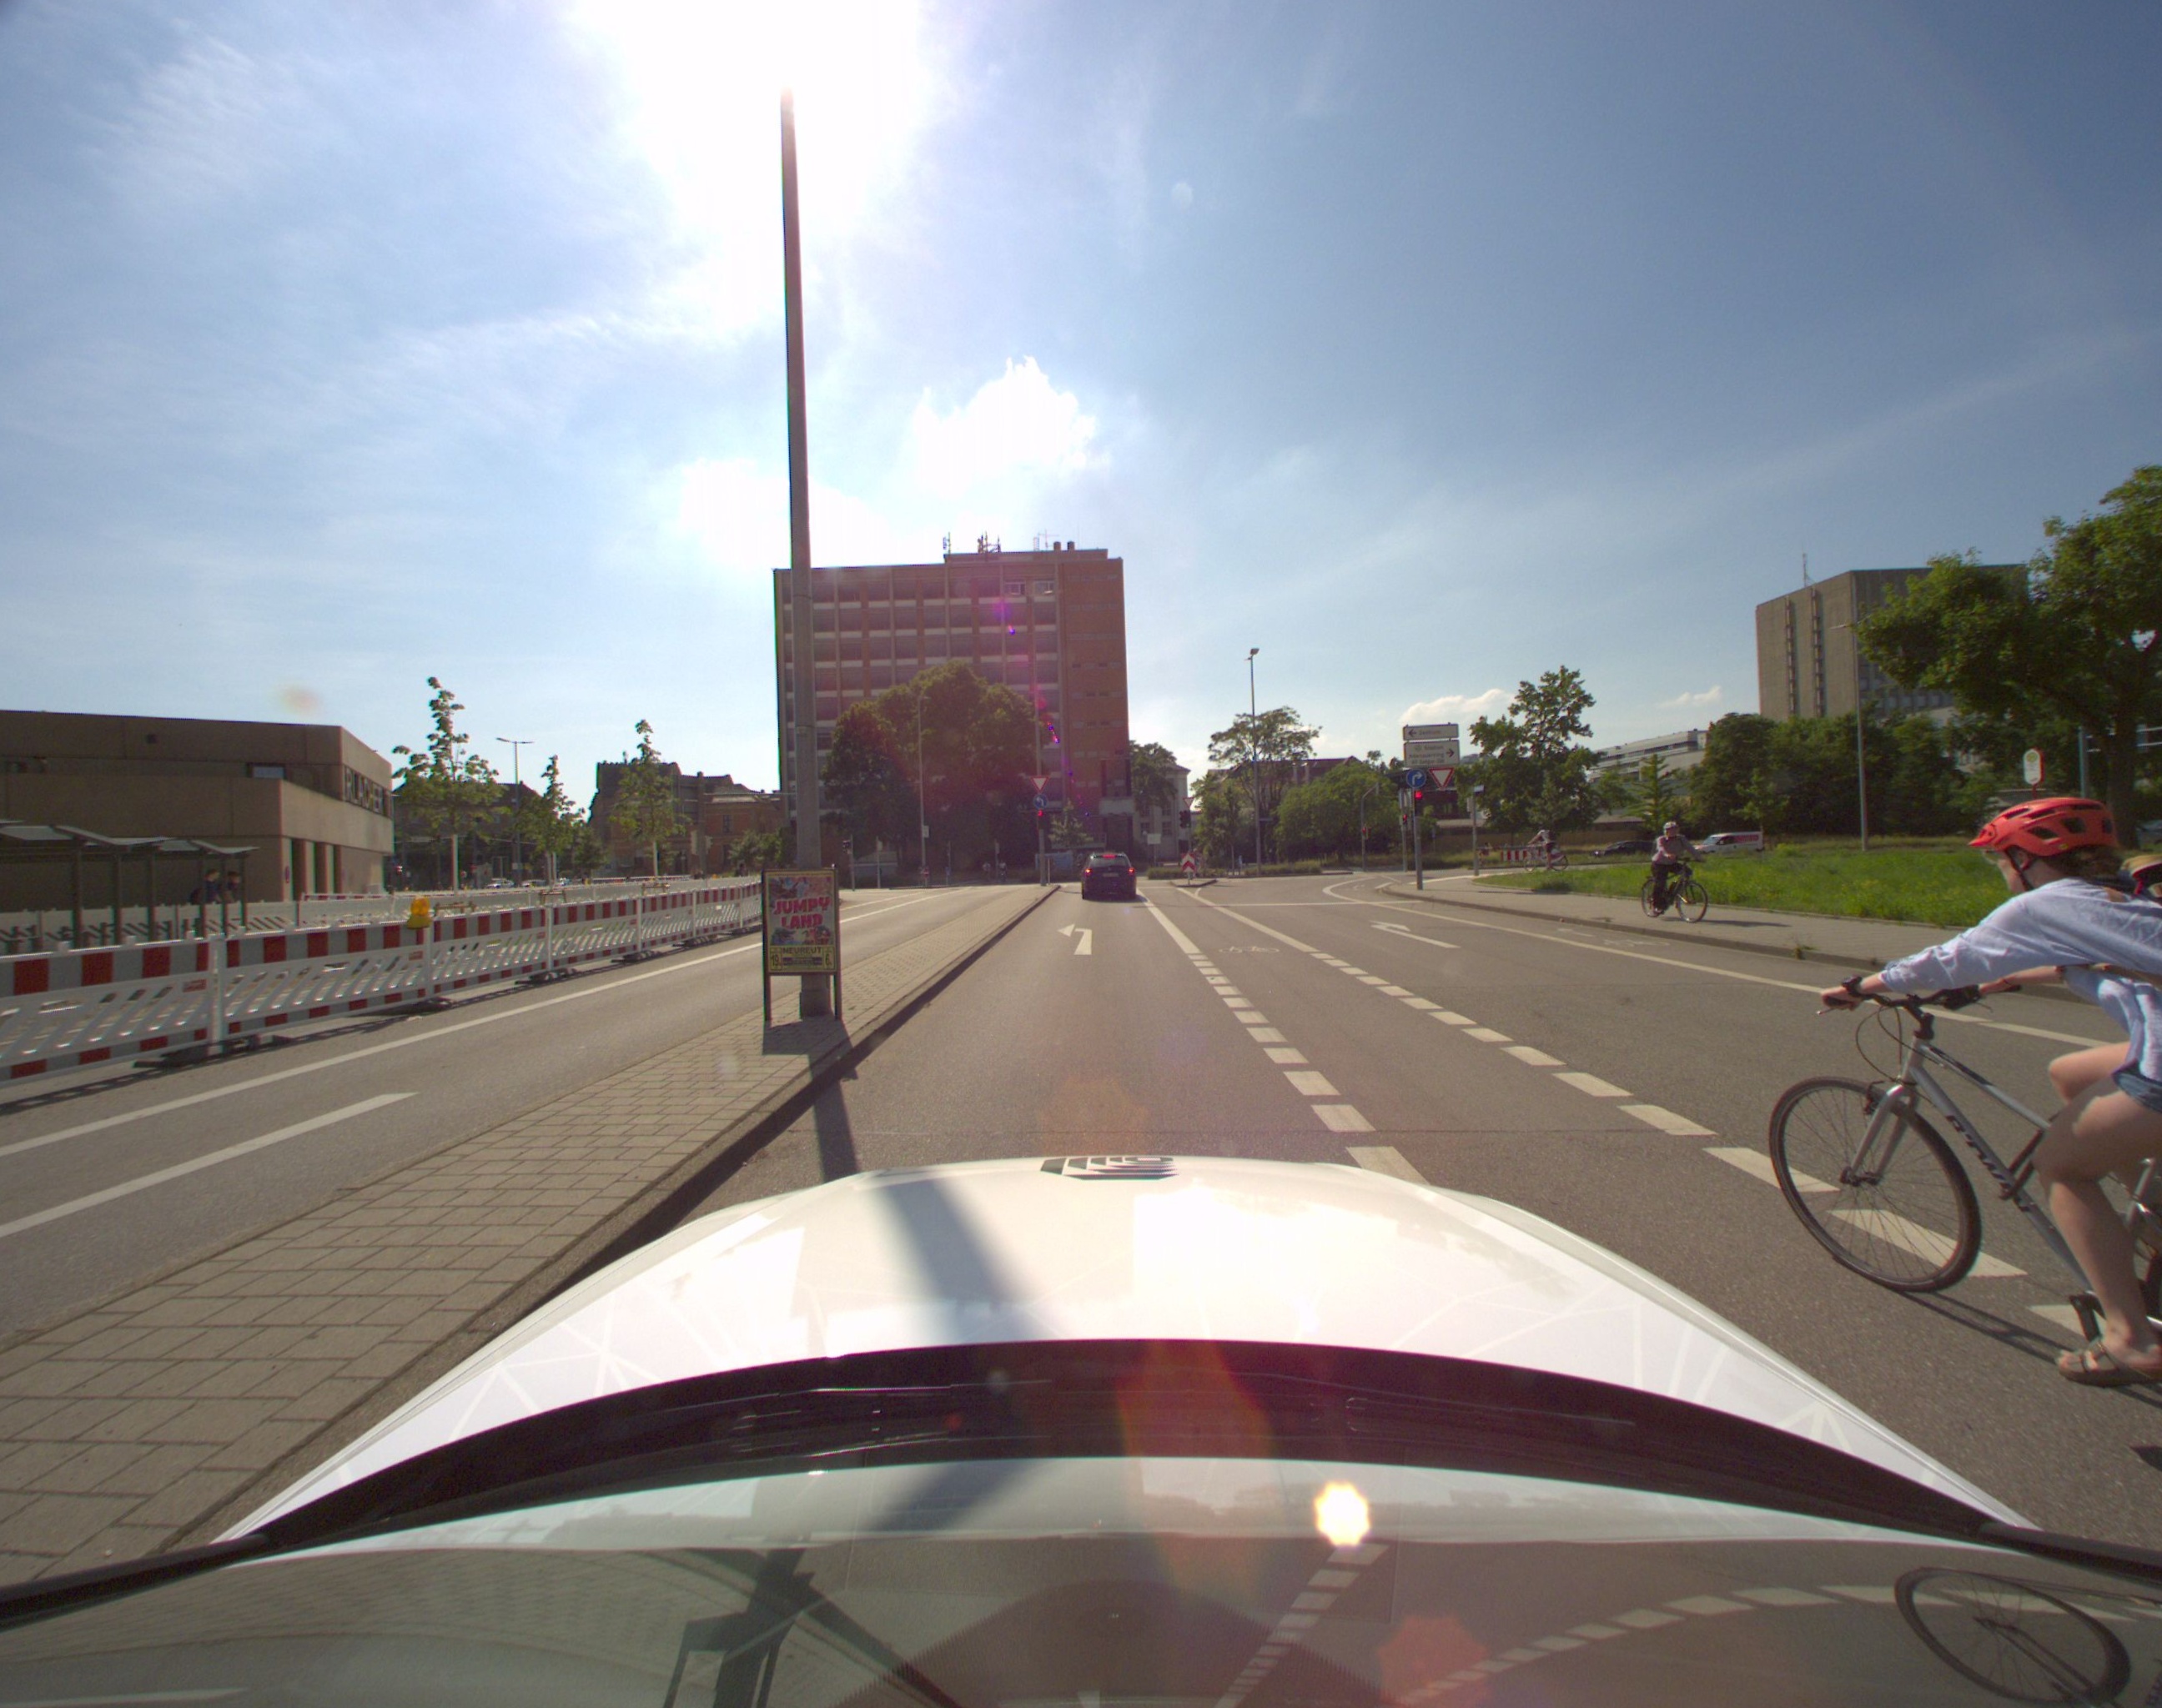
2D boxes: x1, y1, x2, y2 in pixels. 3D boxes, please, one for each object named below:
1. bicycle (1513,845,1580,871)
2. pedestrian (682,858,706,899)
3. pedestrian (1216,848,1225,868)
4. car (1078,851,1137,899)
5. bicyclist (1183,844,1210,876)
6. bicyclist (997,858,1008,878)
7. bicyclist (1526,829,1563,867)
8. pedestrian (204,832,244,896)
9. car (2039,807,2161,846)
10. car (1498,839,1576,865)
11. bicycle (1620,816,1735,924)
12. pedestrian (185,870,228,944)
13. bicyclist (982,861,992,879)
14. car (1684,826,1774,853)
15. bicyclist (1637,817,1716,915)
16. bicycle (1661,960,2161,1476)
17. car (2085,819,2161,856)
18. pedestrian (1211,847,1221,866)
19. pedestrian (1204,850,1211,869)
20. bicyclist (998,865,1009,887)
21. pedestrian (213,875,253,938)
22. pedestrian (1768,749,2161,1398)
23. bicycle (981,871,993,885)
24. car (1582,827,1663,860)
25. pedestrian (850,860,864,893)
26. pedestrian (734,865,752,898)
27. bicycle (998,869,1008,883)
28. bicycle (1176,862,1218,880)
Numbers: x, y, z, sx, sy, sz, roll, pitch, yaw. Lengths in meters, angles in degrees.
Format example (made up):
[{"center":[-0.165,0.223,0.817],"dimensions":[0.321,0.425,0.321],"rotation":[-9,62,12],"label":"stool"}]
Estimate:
[{"center":[18.080,0.161,31.656],"dimensions":[0.678,0.916,2.143],"rotation":[-2,0,-41],"label":"bicycle"},{"center":[-17.224,1.096,36.275],"dimensions":[0.737,1.752,1.105],"rotation":[-2,-2,-15],"label":"pedestrian"},{"center":[13.685,0.376,79.760],"dimensions":[0.634,1.874,0.796],"rotation":[-4,0,1],"label":"pedestrian"},{"center":[0.872,0.641,26.709],"dimensions":[1.773,1.443,3.819],"rotation":[0,0,2],"label":"car"},{"center":[5.486,0.269,38.532],"dimensions":[1.157,1.474,0.566],"rotation":[-2,0,13],"label":"bicyclist"},{"center":[-5.714,1.023,59.309],"dimensions":[0.617,1.443,0.919],"rotation":[-5,0,-4],"label":"bicyclist"},{"center":[18.014,-0.221,31.644],"dimensions":[0.499,1.470,1.129],"rotation":[1,-2,-41],"label":"bicyclist"},{"center":[-24.232,0.280,23.024],"dimensions":[0.538,1.778,0.572],"rotation":[-3,-1,22],"label":"pedestrian"},{"center":[45.748,-1.222,36.278],"dimensions":[3.972,1.508,1.753],"rotation":[-3,0,1],"label":"car"},{"center":[30.157,-0.112,53.933],"dimensions":[3.973,1.464,2.000],"rotation":[-2,-1,1],"label":"car"},{"center":[10.530,0.263,14.471],"dimensions":[0.675,1.765,1.811],"rotation":[-3,0,1],"label":"bicycle"},{"center":[-23.435,1.410,21.829],"dimensions":[0.436,1.915,0.609],"rotation":[-3,-1,22],"label":"pedestrian"},{"center":[-7.349,1.255,63.634],"dimensions":[0.537,1.417,1.030],"rotation":[-3,-1,0],"label":"bicyclist"},{"center":[42.248,-0.912,53.134],"dimensions":[4.295,1.569,1.910],"rotation":[-2,0,1],"label":"car"},{"center":[10.552,0.207,14.455],"dimensions":[0.675,1.655,0.919],"rotation":[-3,0,1],"label":"bicyclist"},{"center":[2.713,0.911,2.420],"dimensions":[0.594,0.931,2.029],"rotation":[-1,0,3],"label":"bicycle"},{"center":[62.104,-0.986,47.579],"dimensions":[3.966,2.014,2.003],"rotation":[-2,-2,6],"label":"car"},{"center":[13.368,0.269,80.716],"dimensions":[0.786,1.874,0.642],"rotation":[-1,-1,27],"label":"pedestrian"},{"center":[12.572,0.571,80.948],"dimensions":[0.591,1.874,0.642],"rotation":[-1,-1,24],"label":"pedestrian"},{"center":[-5.668,1.605,59.306],"dimensions":[0.617,1.581,1.012],"rotation":[-5,0,-3],"label":"bicyclist"},{"center":[-23.565,1.450,22.642],"dimensions":[0.534,1.708,0.572],"rotation":[-3,-1,22],"label":"pedestrian"},{"center":[2.696,0.493,2.345],"dimensions":[0.580,1.466,1.014],"rotation":[-1,-1,3],"label":"pedestrian"},{"center":[-7.343,1.848,63.527],"dimensions":[0.702,0.977,2.030],"rotation":[-2,0,0],"label":"bicycle"},{"center":[35.854,-0.692,53.992],"dimensions":[3.970,2.013,2.002],"rotation":[-2,0,3],"label":"car"},{"center":[-13.857,1.405,50.406],"dimensions":[0.619,2.014,0.679],"rotation":[1,-2,-36],"label":"pedestrian"},{"center":[-15.791,1.267,38.035],"dimensions":[0.632,1.491,0.614],"rotation":[-2,0,-15],"label":"pedestrian"},{"center":[-5.668,1.605,59.306],"dimensions":[0.617,0.961,1.965],"rotation":[-5,0,-3],"label":"bicycle"},{"center":[5.476,0.793,38.533],"dimensions":[1.876,0.792,0.562],"rotation":[-2,1,13],"label":"bicycle"}]
